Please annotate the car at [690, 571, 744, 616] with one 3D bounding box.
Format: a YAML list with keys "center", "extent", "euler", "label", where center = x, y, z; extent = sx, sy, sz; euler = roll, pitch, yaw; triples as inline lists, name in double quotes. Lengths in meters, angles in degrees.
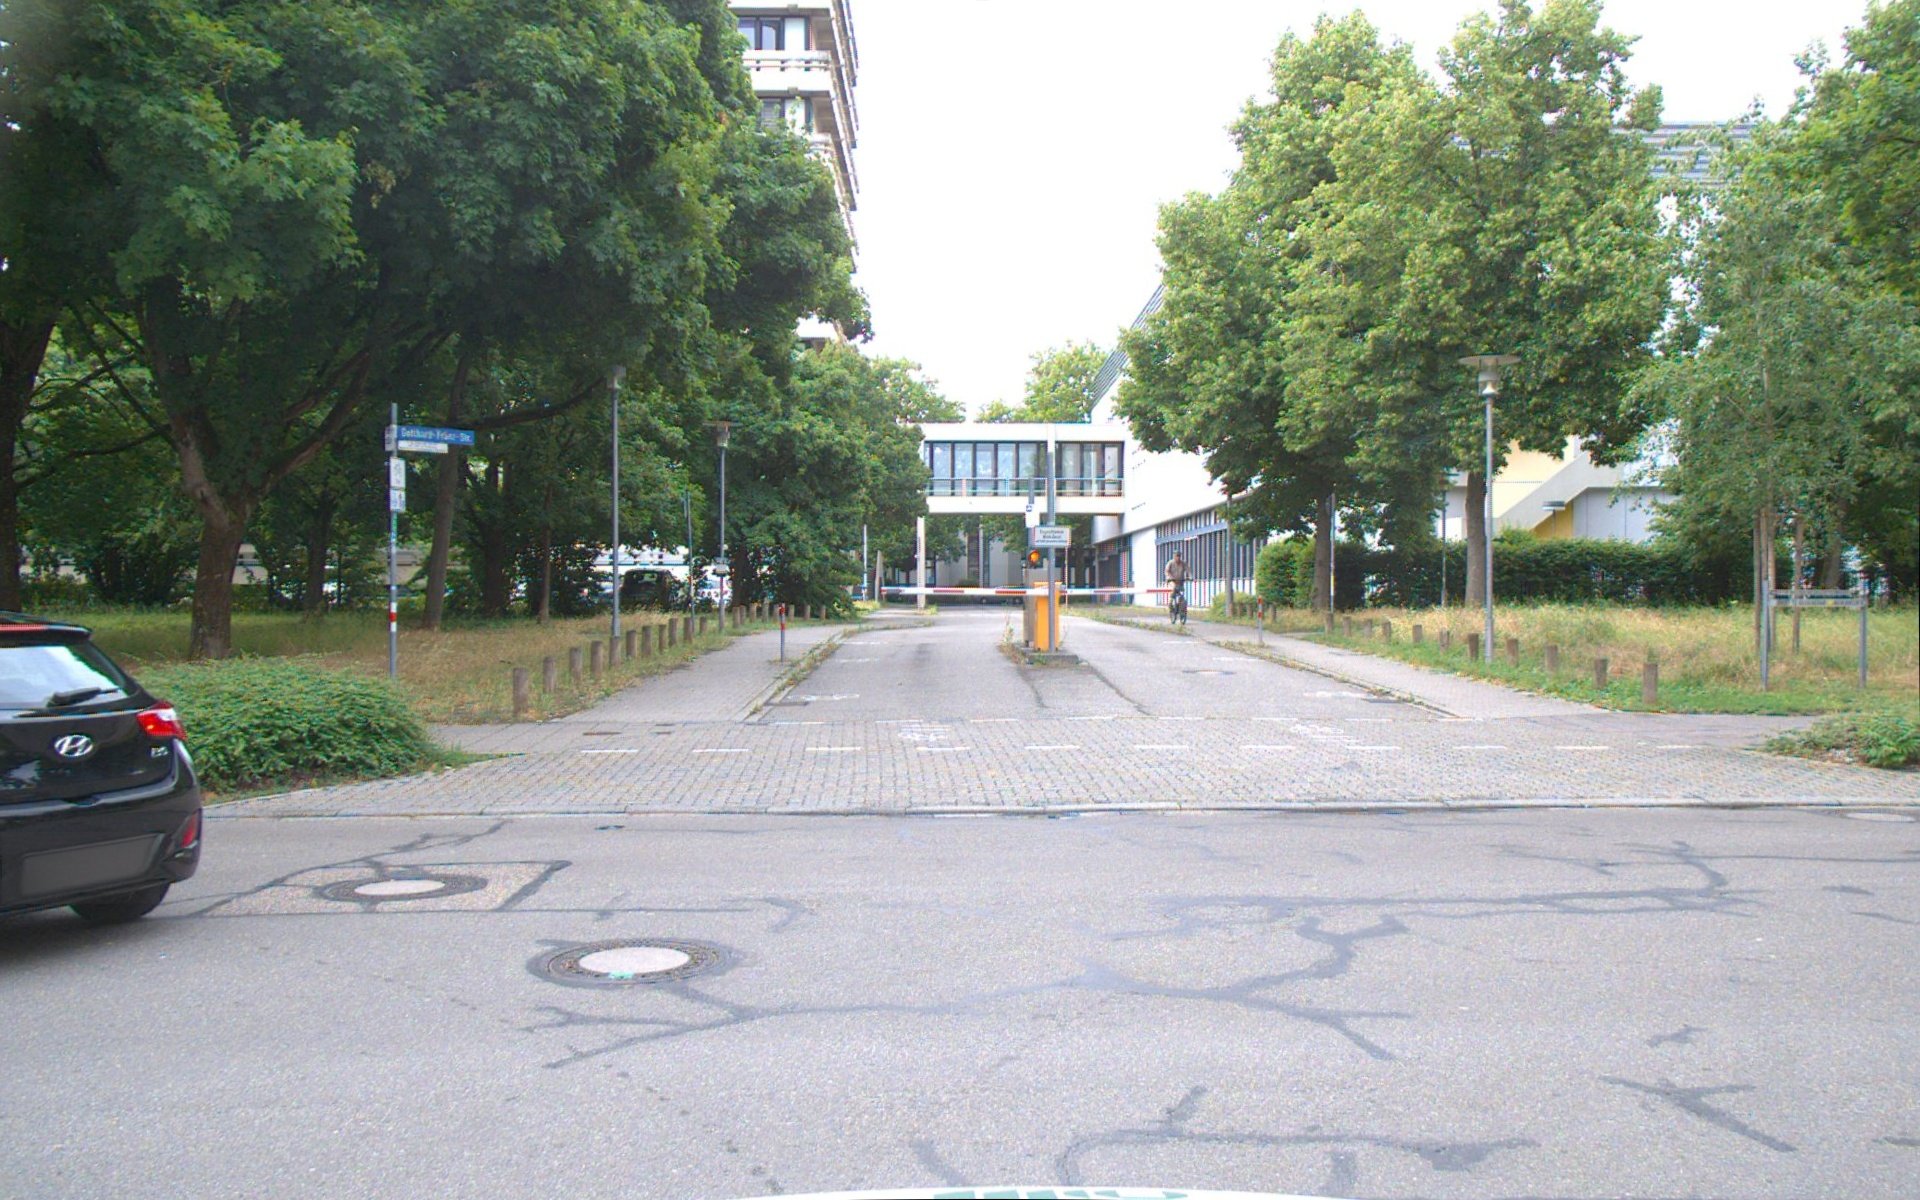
- center: [-9.829, -0.243, 67.040]
  extent: [1.955, 1.792, 3.995]
  euler: [0, 0, -6]
  label: "car"

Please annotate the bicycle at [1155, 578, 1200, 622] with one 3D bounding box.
- center: [5.622, -0.019, 42.853]
  extent: [0.849, 1.093, 2.141]
  euler: [0, 1, -1]
  label: "bicycle"

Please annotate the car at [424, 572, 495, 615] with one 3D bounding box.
- center: [-20.027, -0.260, 66.358]
  extent: [1.955, 1.646, 3.995]
  euler: [0, 0, -6]
  label: "car"

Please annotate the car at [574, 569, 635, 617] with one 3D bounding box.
- center: [-14.328, -0.252, 66.819]
  extent: [1.955, 1.825, 3.995]
  euler: [0, -1, -6]
  label: "car"

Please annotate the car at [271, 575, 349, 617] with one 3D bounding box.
- center: [-26.105, -0.171, 66.509]
  extent: [1.880, 1.646, 3.995]
  euler: [0, 0, -6]
  label: "car"

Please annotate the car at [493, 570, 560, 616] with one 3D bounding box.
- center: [-17.360, -0.258, 66.384]
  extent: [1.955, 1.758, 3.995]
  euler: [0, -1, -6]
  label: "car"

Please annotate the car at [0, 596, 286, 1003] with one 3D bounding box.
- center: [-5.078, 0.726, 7.195]
  extent: [3.736, 1.488, 1.852]
  euler: [0, 0, 21]
  label: "car"

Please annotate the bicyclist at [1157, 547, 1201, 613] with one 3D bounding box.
- center: [5.650, -0.519, 42.679]
  extent: [0.996, 1.673, 0.923]
  euler: [0, 1, -1]
  label: "bicyclist"
